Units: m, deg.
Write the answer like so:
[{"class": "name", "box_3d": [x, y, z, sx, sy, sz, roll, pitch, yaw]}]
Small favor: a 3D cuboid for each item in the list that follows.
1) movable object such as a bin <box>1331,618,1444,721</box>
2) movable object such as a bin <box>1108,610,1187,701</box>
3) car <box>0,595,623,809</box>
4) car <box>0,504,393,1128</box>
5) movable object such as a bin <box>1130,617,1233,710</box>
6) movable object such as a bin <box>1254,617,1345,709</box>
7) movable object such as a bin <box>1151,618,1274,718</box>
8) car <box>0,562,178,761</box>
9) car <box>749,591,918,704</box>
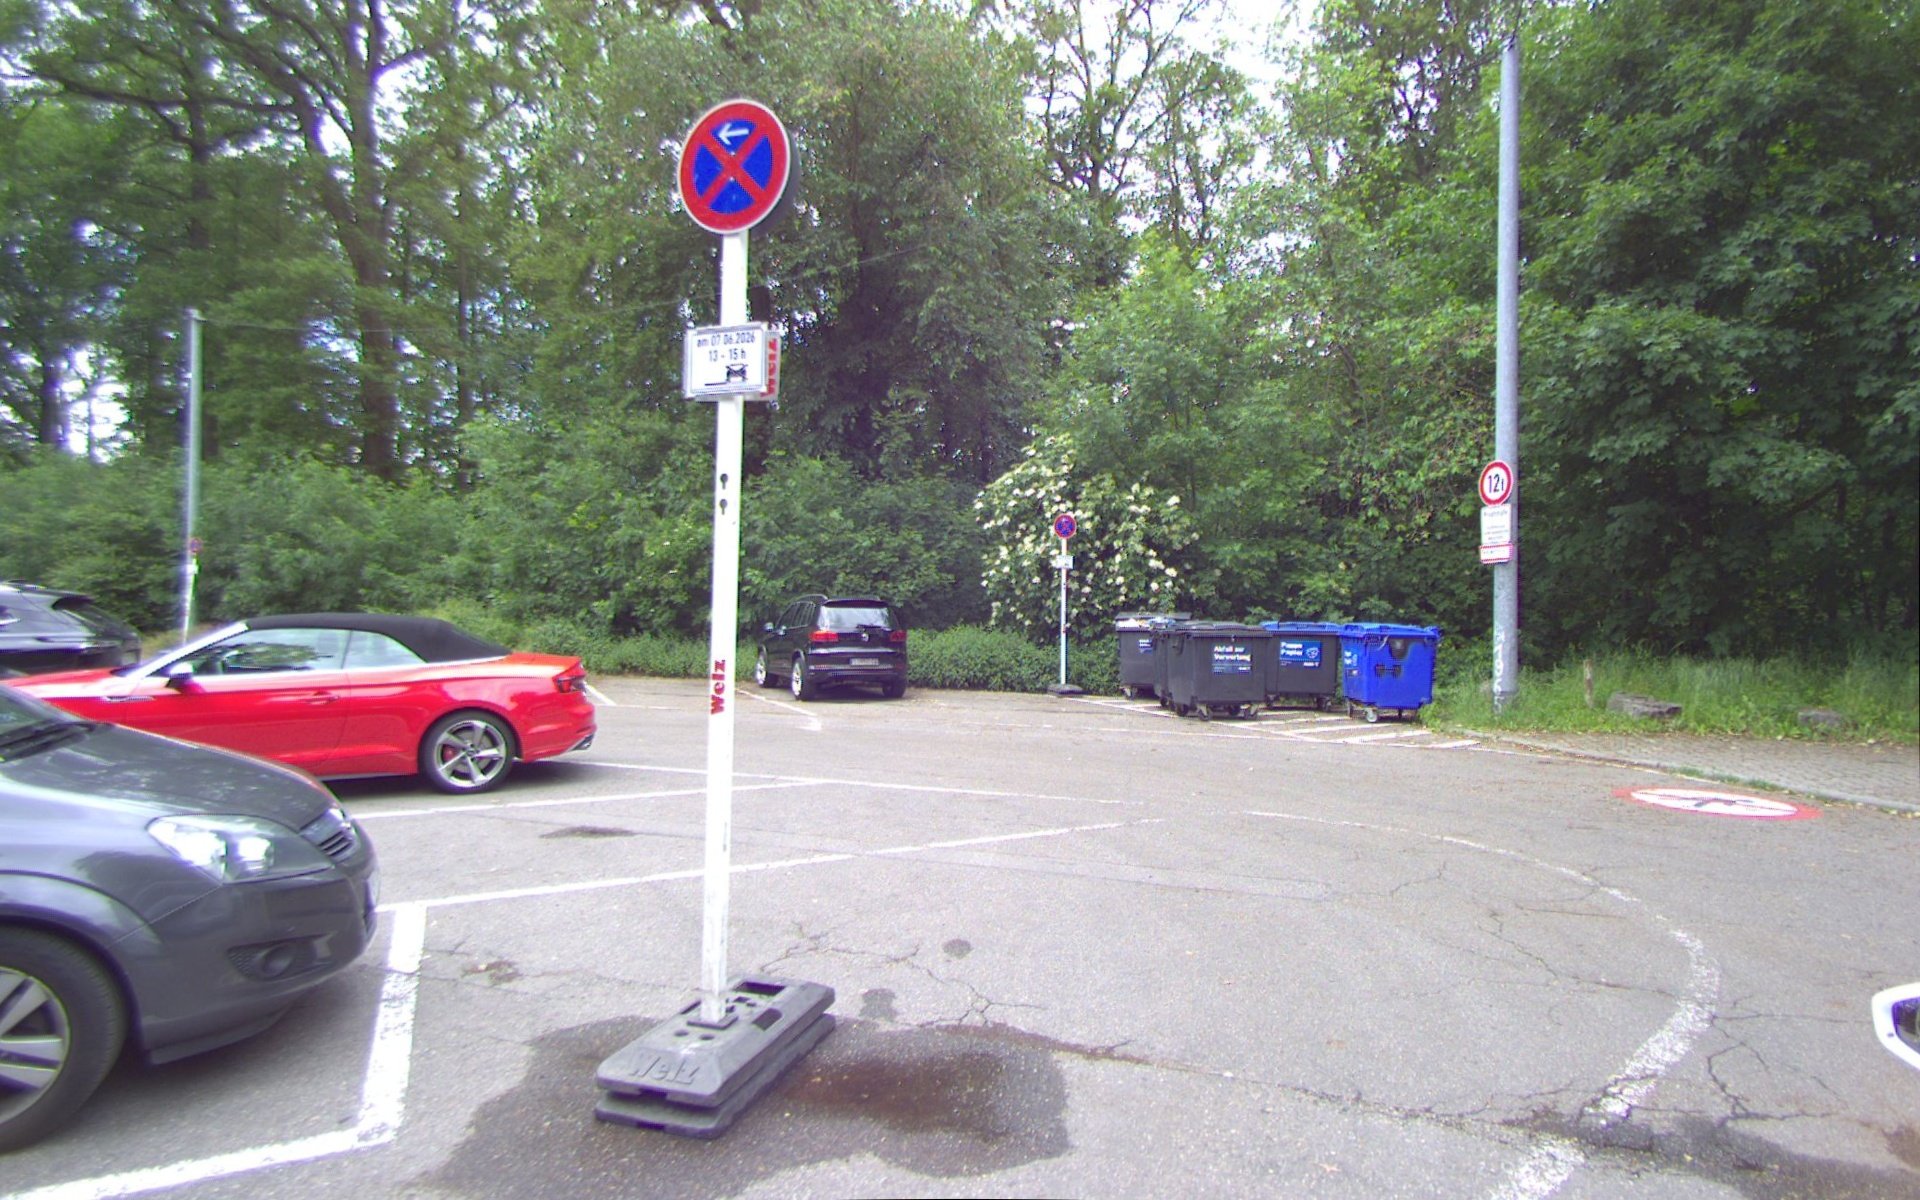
[{"class": "movable object such as a bin", "box_3d": [5.938, 0.936, 14.039, 1.123, 1.342, 1.258, 1, -1, 6]}, {"class": "movable object such as a bin", "box_3d": [3.160, 0.908, 16.862, 1.108, 1.444, 1.127, 1, -1, 22]}, {"class": "car", "box_3d": [-5.155, 0.714, 8.232, 4.335, 1.412, 1.757, 1, -1, -27]}, {"class": "car", "box_3d": [-4.109, 0.545, 2.787, 4.333, 1.630, 1.816, 1, 0, -28]}, {"class": "movable object such as a bin", "box_3d": [3.331, 0.940, 15.219, 1.163, 1.332, 1.125, 1, -1, -11]}, {"class": "movable object such as a bin", "box_3d": [5.182, 0.936, 15.415, 1.215, 1.337, 1.127, 1, -1, 14]}, {"class": "movable object such as a bin", "box_3d": [3.503, 0.922, 14.033, 1.290, 1.324, 1.170, 1, -1, -11]}, {"class": "car", "box_3d": [-9.537, 0.500, 8.792, 3.951, 1.685, 1.884, 1, 0, -29]}, {"class": "car", "box_3d": [-2.320, 0.734, 17.399, 1.760, 1.707, 4.046, 1, 0, -25]}]
